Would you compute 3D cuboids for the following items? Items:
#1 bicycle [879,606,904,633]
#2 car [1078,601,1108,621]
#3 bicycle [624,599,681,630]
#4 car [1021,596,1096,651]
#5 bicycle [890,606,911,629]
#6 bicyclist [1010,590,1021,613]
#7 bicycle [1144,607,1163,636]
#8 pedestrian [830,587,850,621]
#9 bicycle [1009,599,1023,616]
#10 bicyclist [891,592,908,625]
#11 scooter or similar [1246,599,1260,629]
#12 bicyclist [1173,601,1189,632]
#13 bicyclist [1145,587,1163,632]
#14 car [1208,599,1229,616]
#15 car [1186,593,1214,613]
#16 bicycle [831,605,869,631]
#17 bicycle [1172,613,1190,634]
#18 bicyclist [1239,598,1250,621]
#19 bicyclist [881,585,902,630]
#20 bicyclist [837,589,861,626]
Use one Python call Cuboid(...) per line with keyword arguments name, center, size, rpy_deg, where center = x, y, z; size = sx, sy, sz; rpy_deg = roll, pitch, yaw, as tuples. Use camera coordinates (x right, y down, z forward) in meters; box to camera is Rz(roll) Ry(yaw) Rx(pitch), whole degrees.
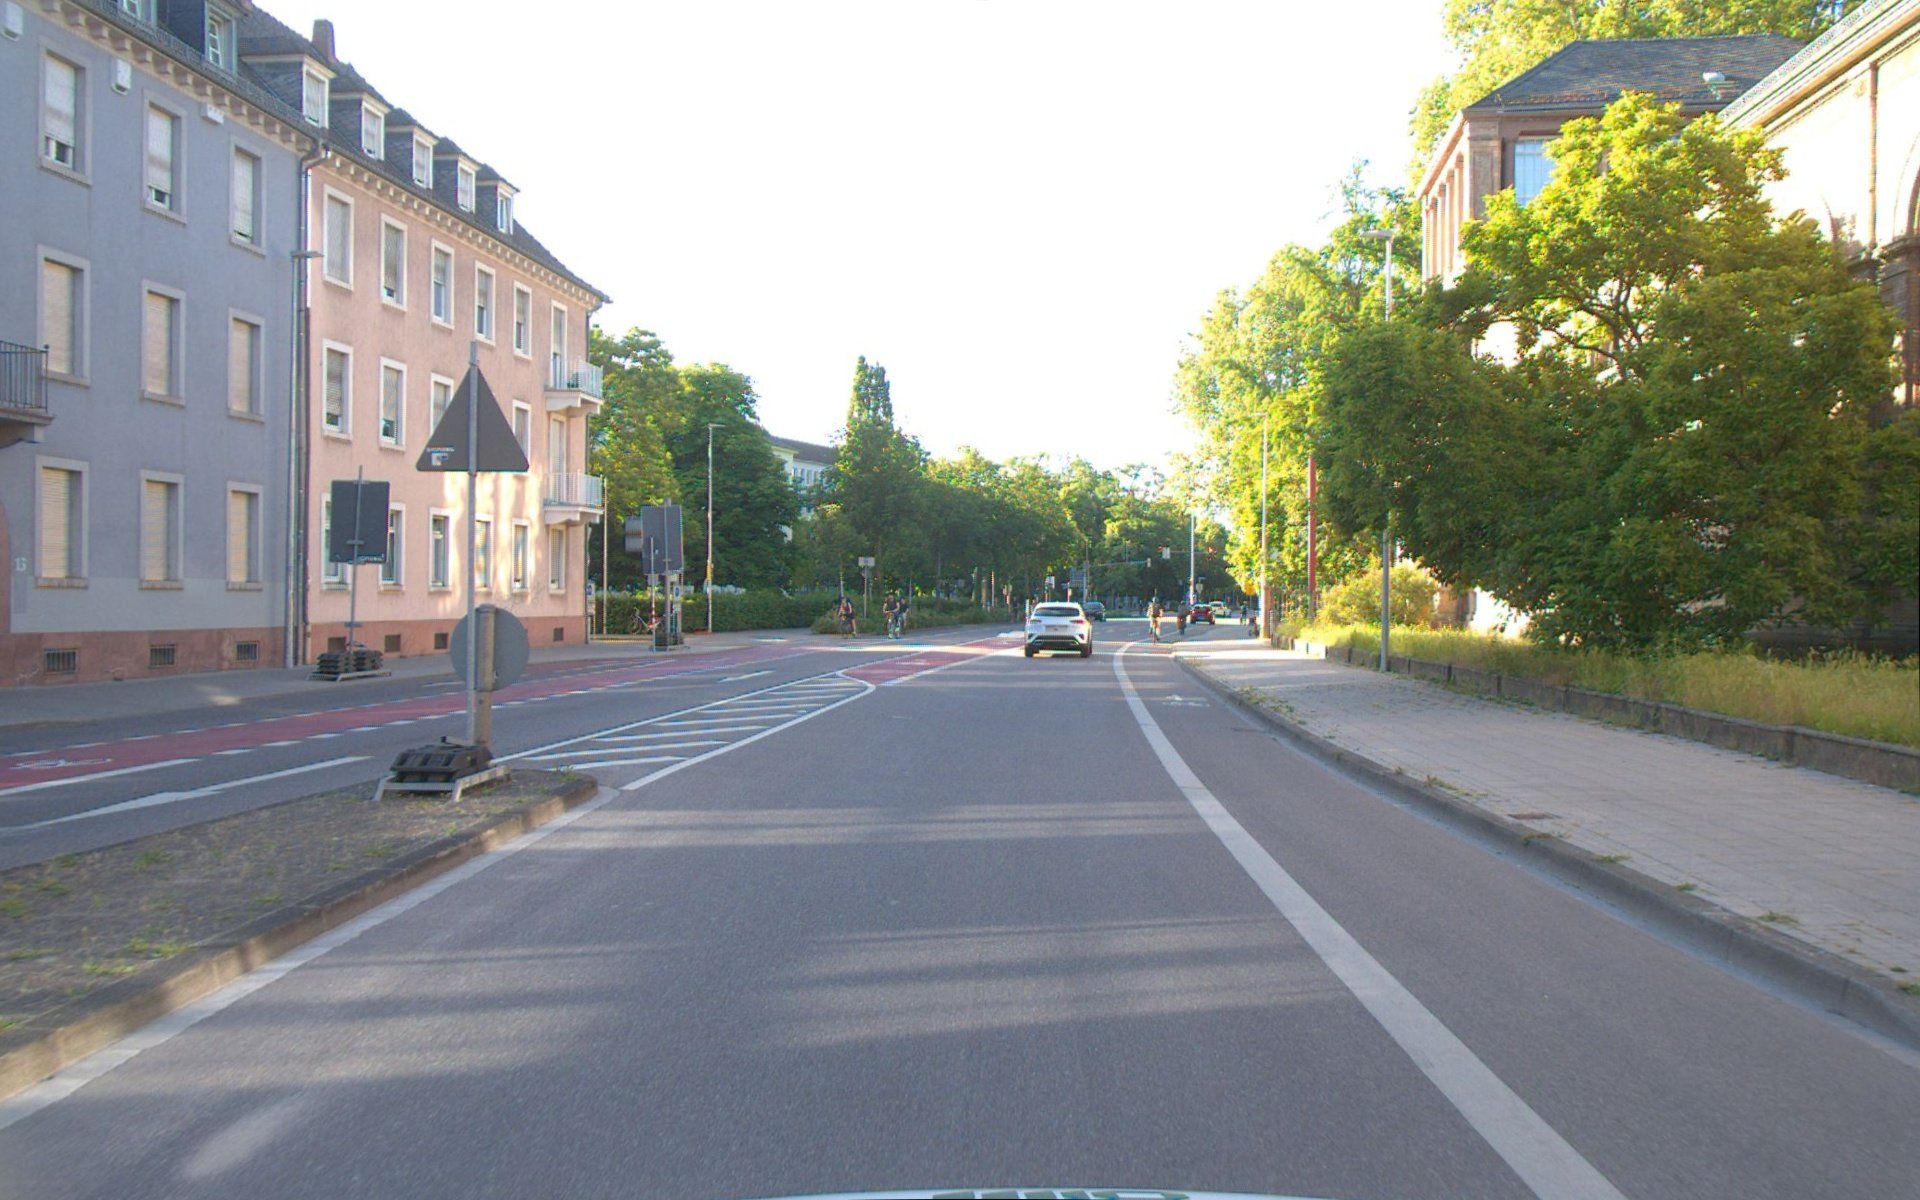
Cuboid(name="bicycle", center=(-2.669, 0.751, 64.728), size=(0.632, 1.013, 2.111), rpy_deg=(-1, 0, 6))
Cuboid(name="car", center=(10.178, 0.804, 125.963), size=(1.720, 1.484, 4.003), rpy_deg=(0, 0, 13))
Cuboid(name="bicycle", center=(-12.683, 0.603, 68.292), size=(2.270, 1.251, 0.561), rpy_deg=(0, 0, 11))
Cuboid(name="car", center=(2.839, 0.654, 46.958), size=(1.951, 1.478, 4.003), rpy_deg=(0, 0, 6))
Cuboid(name="bicycle", center=(-2.748, 0.808, 76.755), size=(0.637, 1.013, 2.111), rpy_deg=(-1, 0, 6))
Cuboid(name="bicyclist", center=(3.868, 0.100, 114.595), size=(0.616, 1.549, 0.725), rpy_deg=(-3, 0, 10))
Cuboid(name="bicycle", center=(7.270, 0.811, 62.050), size=(0.629, 1.042, 2.214), rpy_deg=(2, 0, 9))
Cuboid(name="pedestrian", center=(-6.565, 0.225, 90.451), size=(0.837, 1.884, 1.002), rpy_deg=(-1, 0, 10))
Cuboid(name="bicycle", center=(3.884, 0.509, 114.536), size=(0.584, 1.140, 2.029), rpy_deg=(-3, -1, 10))
Cuboid(name="bicyclist", center=(-2.809, 0.391, 76.604), size=(0.642, 1.511, 0.665), rpy_deg=(-3, 0, 6))
Cuboid(name="scooter or similar", center=(12.681, 0.603, 71.572), size=(0.291, 1.261, 1.160), rpy_deg=(-1, 0, -4))
Cuboid(name="bicyclist", center=(11.394, 0.832, 85.176), size=(0.731, 1.564, 0.970), rpy_deg=(1, 0, 12))
Cuboid(name="bicyclist", center=(7.293, 0.362, 62.125), size=(0.622, 1.642, 1.285), rpy_deg=(1, 0, 9))
Cuboid(name="car", center=(24.479, 0.676, 156.497), size=(1.700, 1.573, 4.003), rpy_deg=(0, 0, 14))
Cuboid(name="car", center=(18.409, 0.236, 126.788), size=(1.888, 1.560, 4.003), rpy_deg=(0, 0, 12))
Cuboid(name="bicycle", center=(-4.549, 0.749, 68.540), size=(0.722, 1.013, 2.109), rpy_deg=(-1, 1, 22))
Cuboid(name="bicycle", center=(11.374, 1.204, 85.069), size=(0.737, 1.044, 1.871), rpy_deg=(1, -1, 12))
Cuboid(name="bicyclist", center=(21.955, 0.728, 127.629), size=(0.733, 1.780, 0.844), rpy_deg=(1, 0, 12))
Cuboid(name="bicyclist", center=(-2.688, 0.287, 64.888), size=(0.622, 1.740, 0.739), rpy_deg=(-3, 0, 6))
Cuboid(name="bicyclist", center=(-4.583, 0.323, 68.476), size=(0.722, 1.511, 0.665), rpy_deg=(-2, 0, 23))
